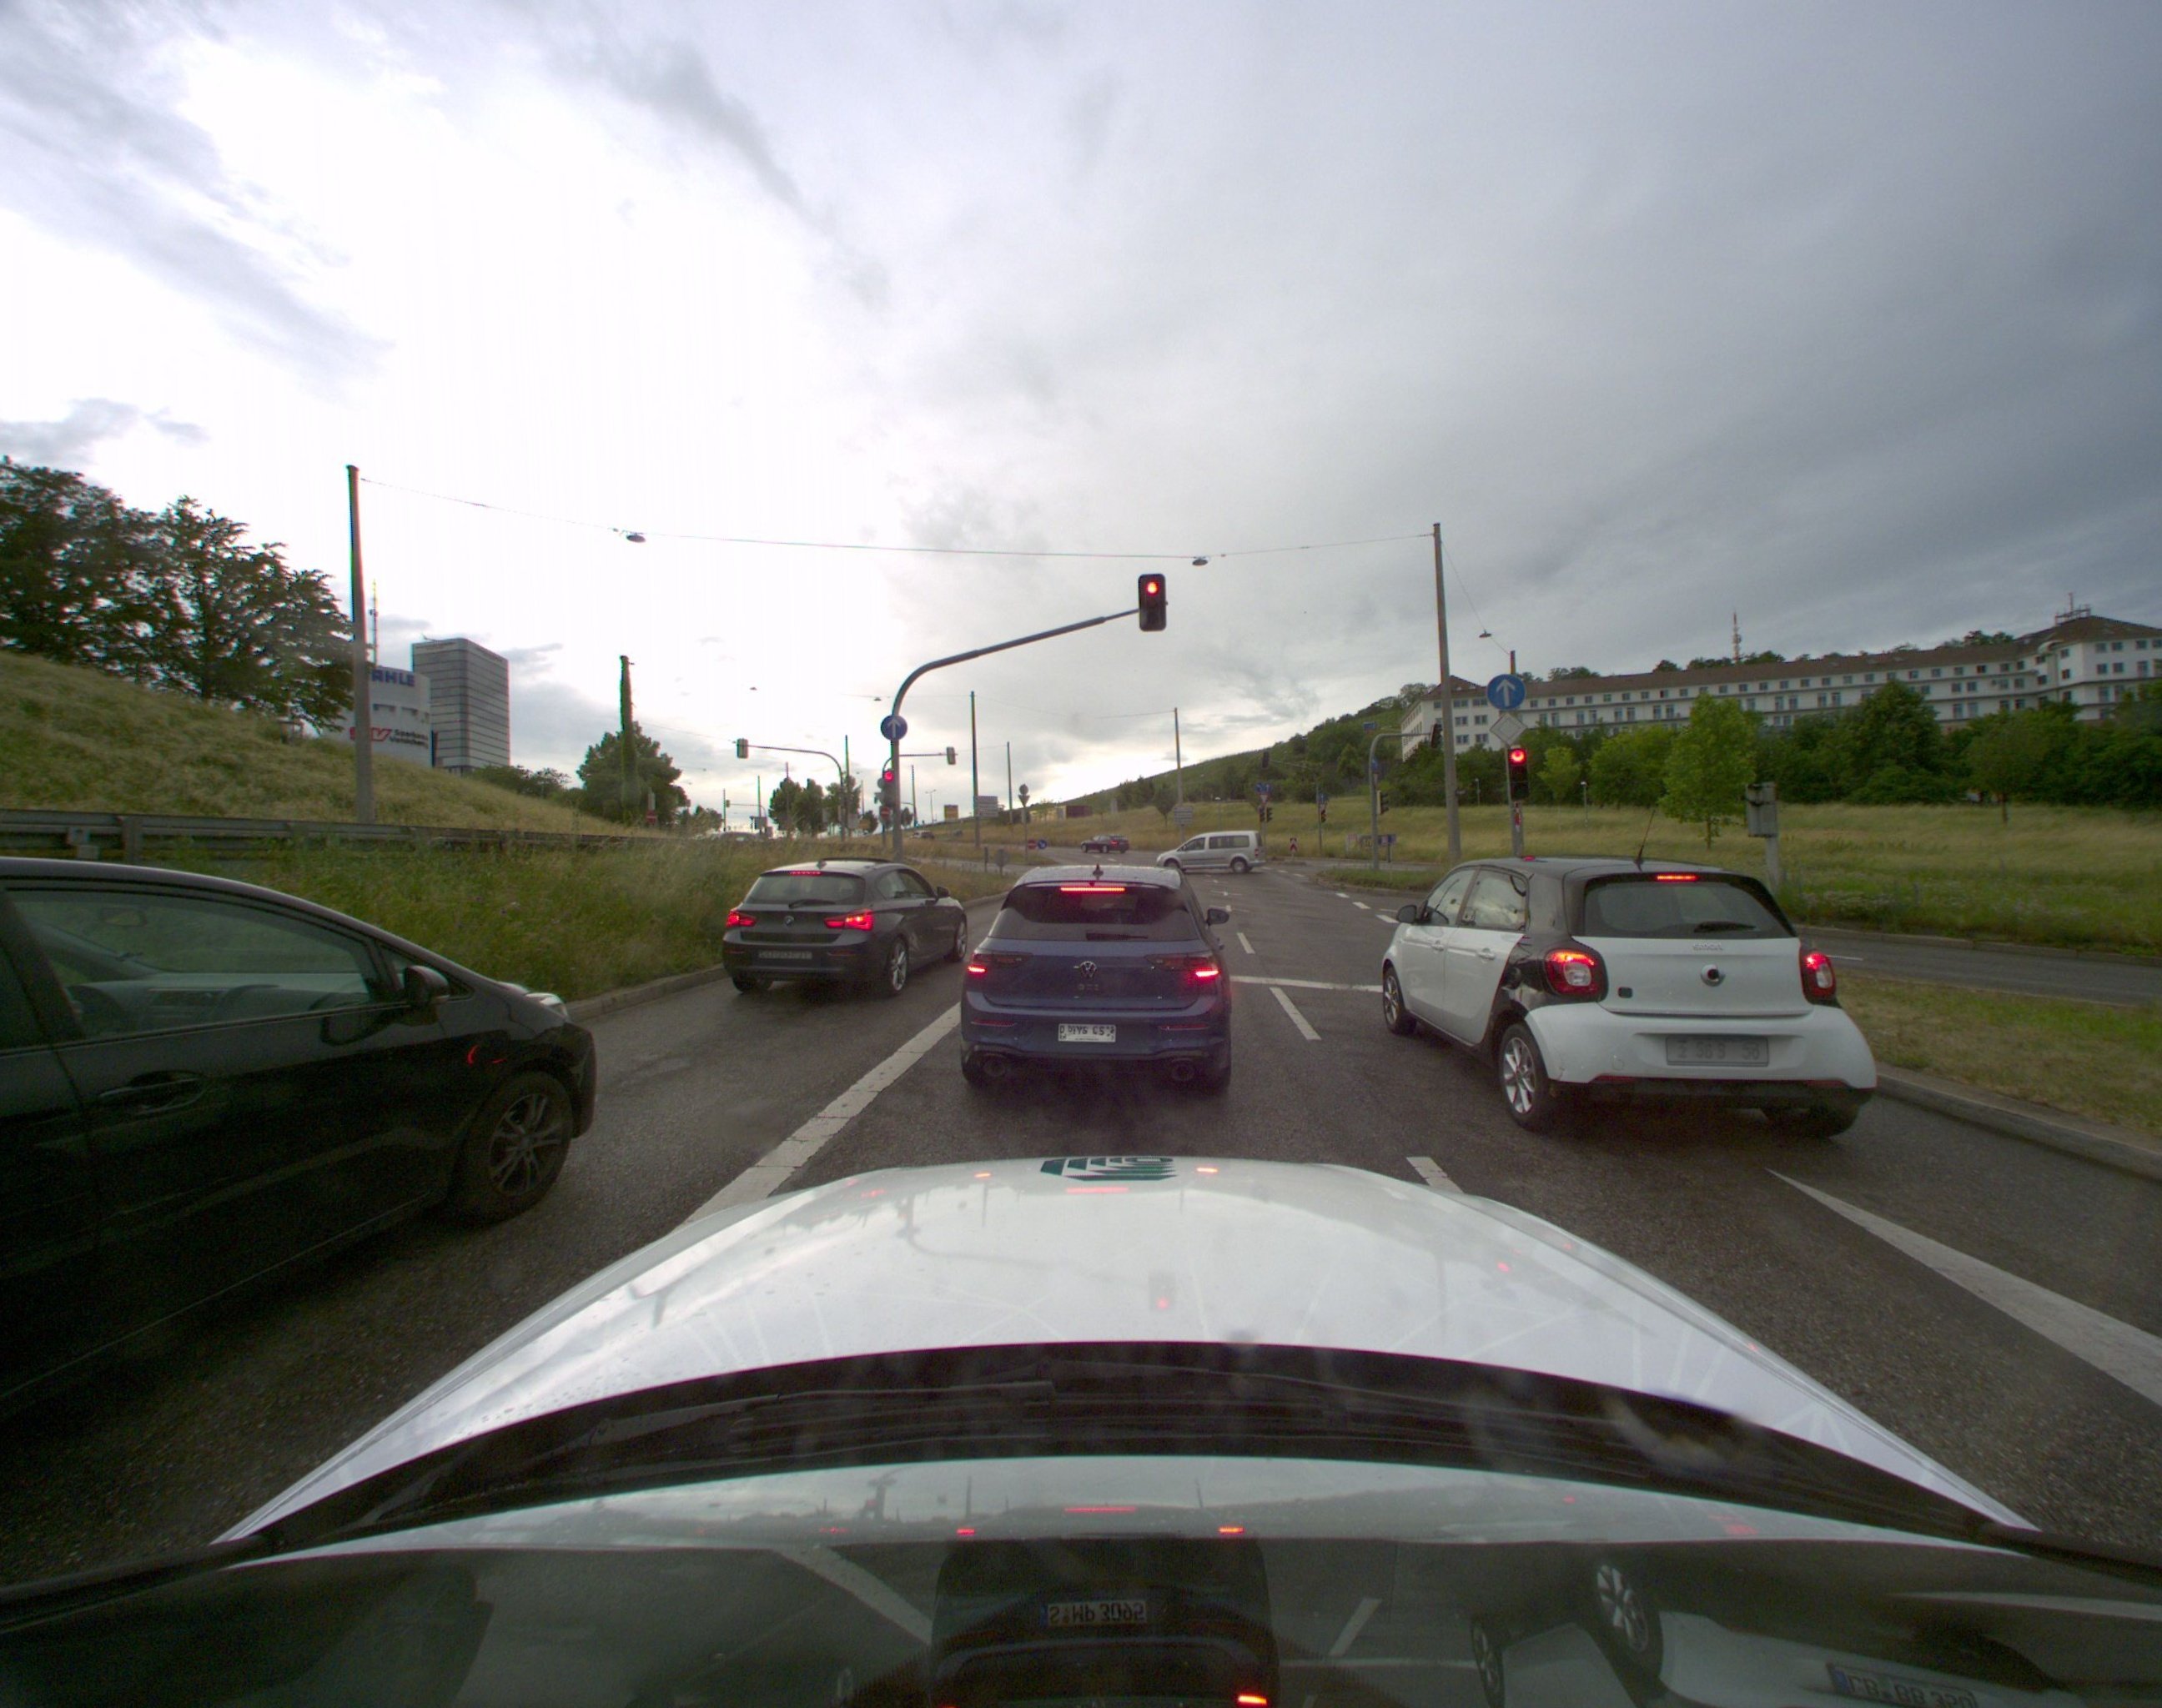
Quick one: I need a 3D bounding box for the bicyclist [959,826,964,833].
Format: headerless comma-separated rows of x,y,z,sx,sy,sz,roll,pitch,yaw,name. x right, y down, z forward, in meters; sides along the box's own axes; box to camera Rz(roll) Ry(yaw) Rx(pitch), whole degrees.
-17.404,-3.578,118.620,0.526,1.046,0.575,2,0,-32,bicyclist

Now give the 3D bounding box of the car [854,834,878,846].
-29.931,-1.912,113.295,2.008,1.477,4.455,0,-1,-33,car

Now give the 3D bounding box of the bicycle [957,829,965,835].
-17.459,-3.234,118.684,0.521,0.775,1.605,2,0,-31,bicycle

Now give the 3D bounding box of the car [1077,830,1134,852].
1.864,-0.965,62.880,2.008,1.618,4.801,0,0,-34,car

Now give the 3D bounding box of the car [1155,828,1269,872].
5.814,-0.145,36.069,4.641,1.850,1.832,-1,-1,23,car

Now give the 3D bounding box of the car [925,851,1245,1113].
0.245,0.726,6.542,1.815,1.460,3.816,-1,0,7,car

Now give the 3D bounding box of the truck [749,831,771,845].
-75.658,-3.850,191.941,3.281,3.074,6.111,2,0,-35,truck

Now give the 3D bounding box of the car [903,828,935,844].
-18.342,-1.975,92.262,2.008,1.637,4.373,0,-1,-35,car

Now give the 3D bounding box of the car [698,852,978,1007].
-2.641,0.740,9.958,1.693,1.459,4.123,-1,0,7,car

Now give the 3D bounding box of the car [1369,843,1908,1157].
3.309,0.732,5.708,1.649,1.503,3.456,-1,-1,6,car

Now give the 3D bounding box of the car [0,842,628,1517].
-3.227,0.730,2.229,1.635,1.504,3.782,1,0,4,car

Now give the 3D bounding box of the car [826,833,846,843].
-39.199,-2.533,130.310,2.007,1.477,4.375,0,-1,-33,car
